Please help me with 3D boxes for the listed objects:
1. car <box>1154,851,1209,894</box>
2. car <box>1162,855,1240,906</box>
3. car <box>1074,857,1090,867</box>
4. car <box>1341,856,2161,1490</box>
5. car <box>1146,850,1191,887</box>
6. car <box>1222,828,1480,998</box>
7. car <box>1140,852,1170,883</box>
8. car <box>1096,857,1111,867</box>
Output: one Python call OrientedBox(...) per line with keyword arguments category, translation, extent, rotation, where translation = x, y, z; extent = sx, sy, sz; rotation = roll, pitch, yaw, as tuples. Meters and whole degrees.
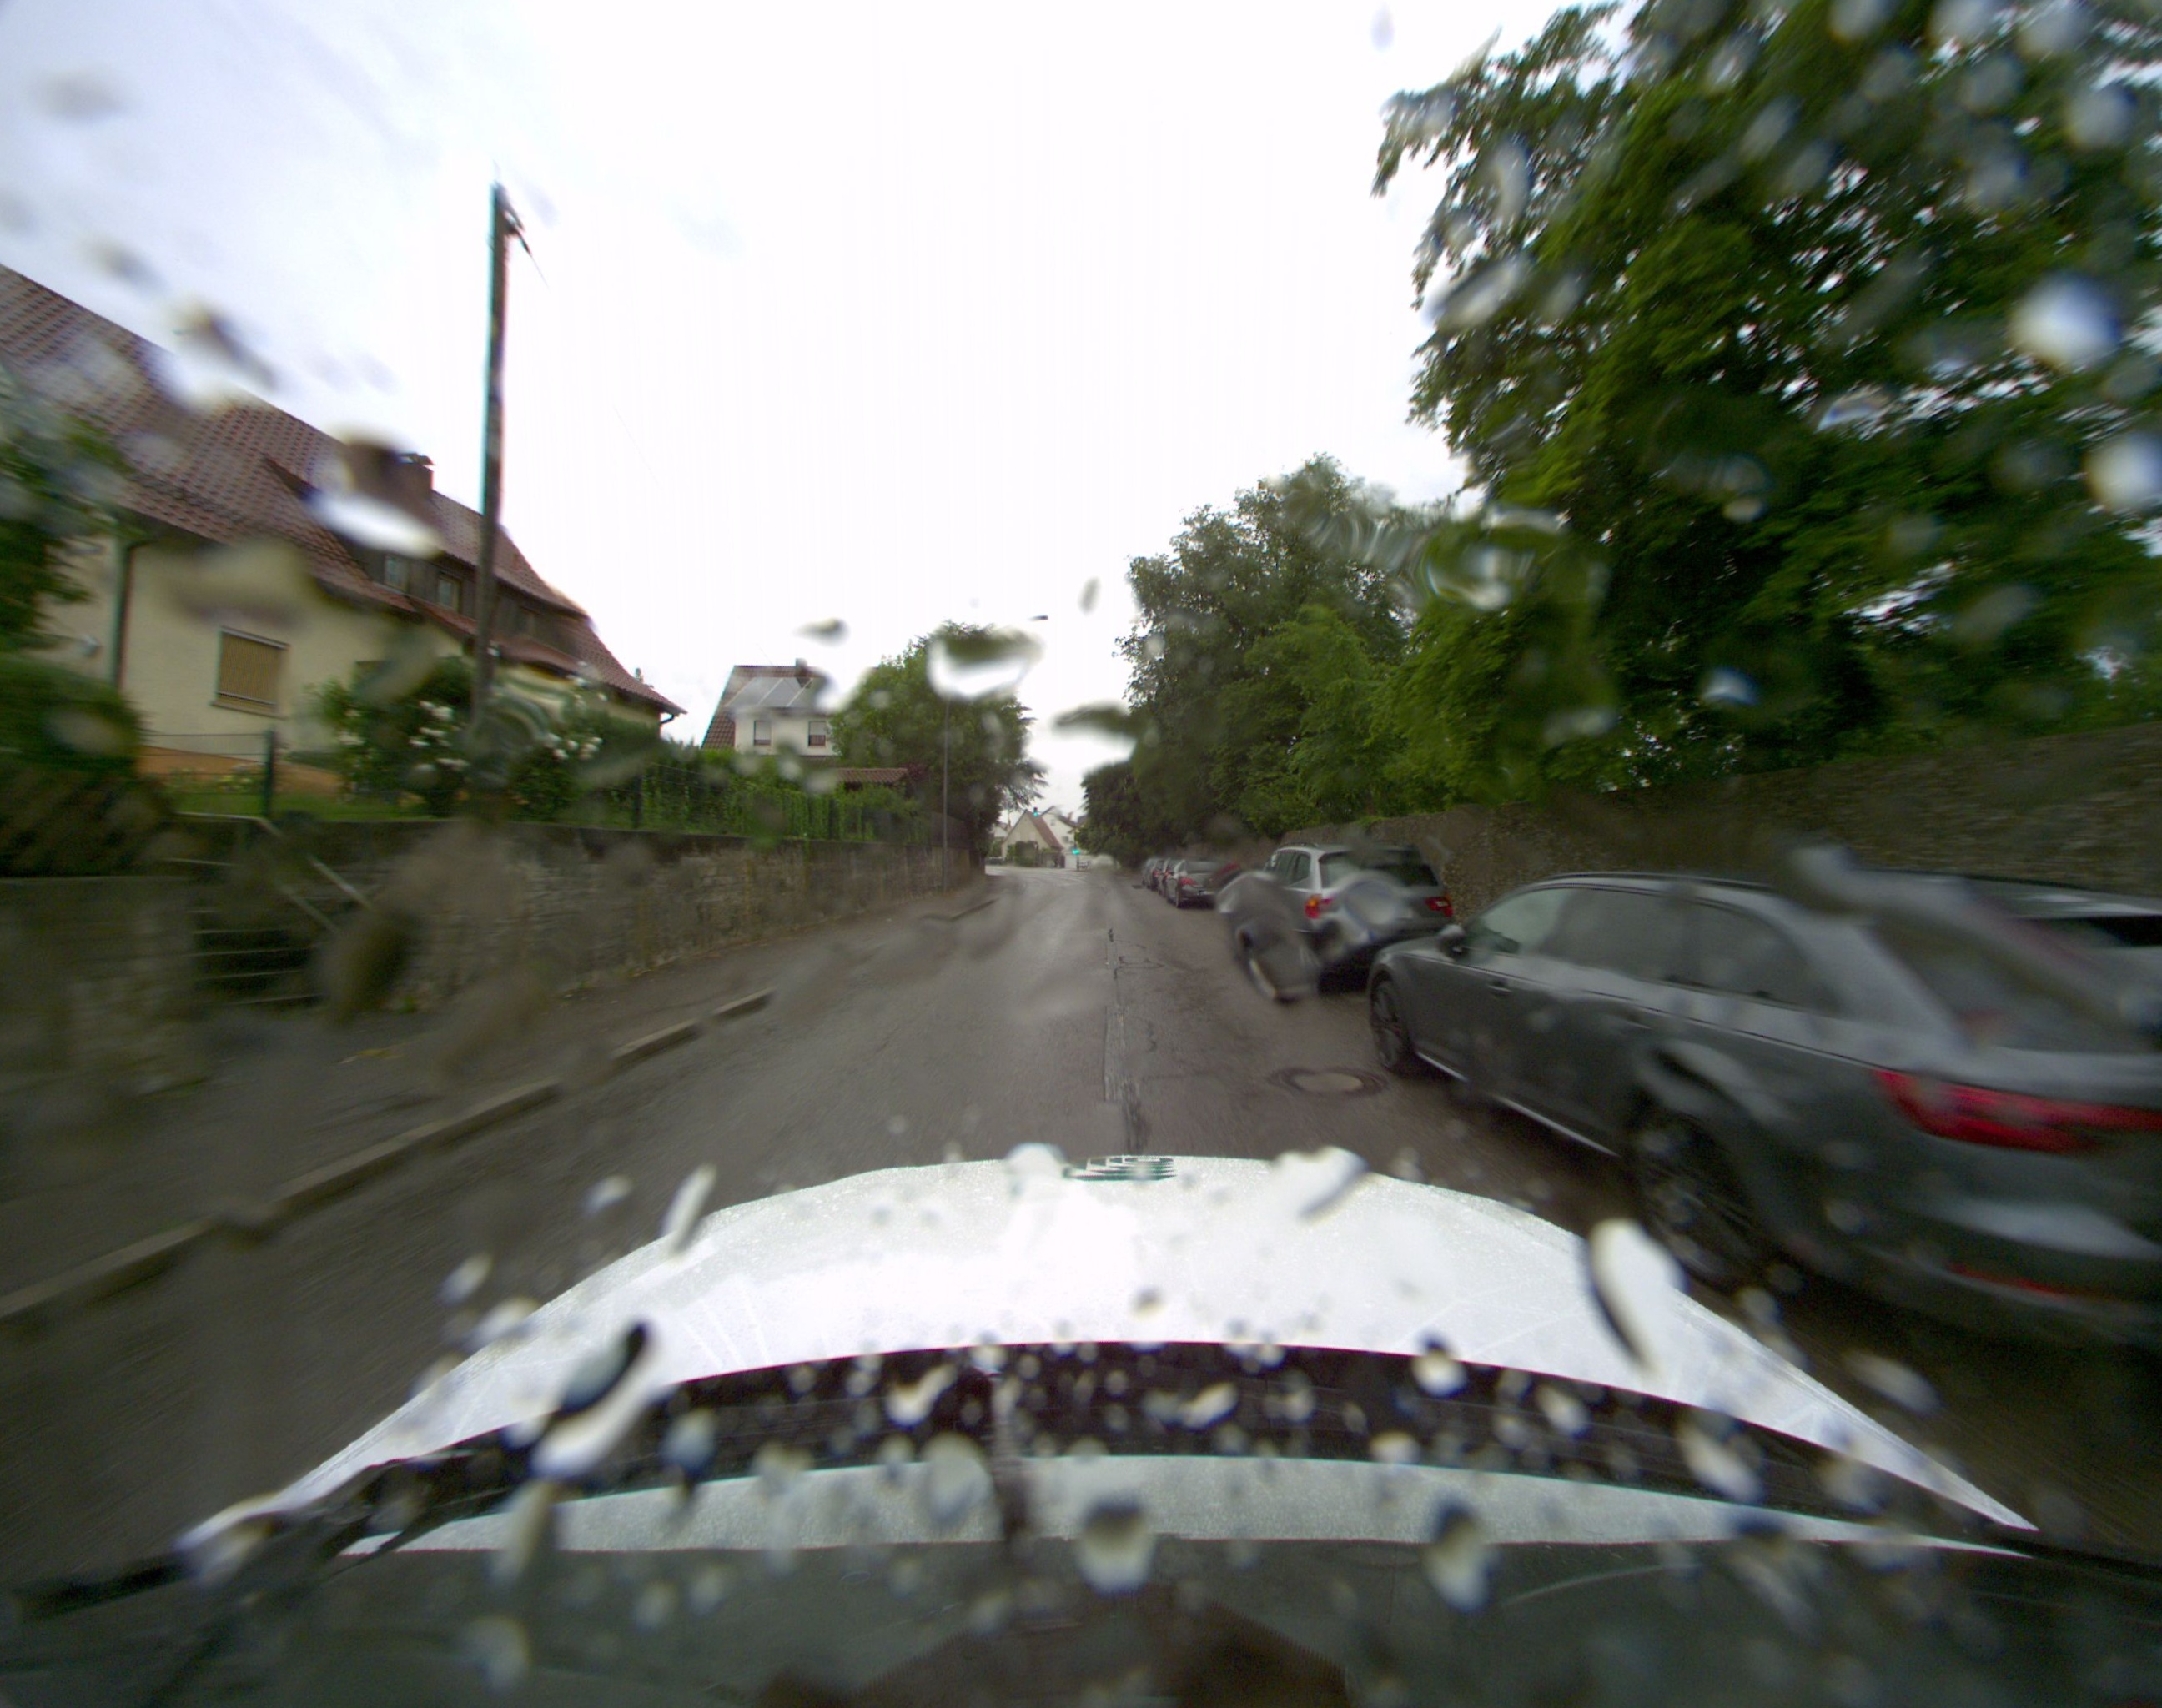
OrientedBox(category="car", translation=(3.650, 0.684, 30.010), extent=(1.641, 1.497, 3.710), rotation=(0, -1, 1))
OrientedBox(category="car", translation=(3.488, 0.729, 24.314), extent=(1.647, 1.371, 4.180), rotation=(-1, 0, -1))
OrientedBox(category="car", translation=(0.221, 1.136, 115.031), extent=(1.898, 1.442, 4.005), rotation=(-1, 0, 5))
OrientedBox(category="car", translation=(3.022, 0.754, 4.261), extent=(1.759, 1.447, 4.694), rotation=(-1, -1, -1))
OrientedBox(category="car", translation=(3.758, 0.648, 35.543), extent=(1.641, 1.497, 4.247), rotation=(0, -1, 1))
OrientedBox(category="car", translation=(3.083, 0.610, 10.355), extent=(1.737, 1.668, 4.496), rotation=(-1, -1, -1))
OrientedBox(category="car", translation=(3.718, 0.701, 41.316), extent=(1.298, 1.497, 3.364), rotation=(0, -1, 1))
OrientedBox(category="car", translation=(3.173, 1.118, 114.551), extent=(1.898, 1.442, 4.005), rotation=(-1, 0, 5))
